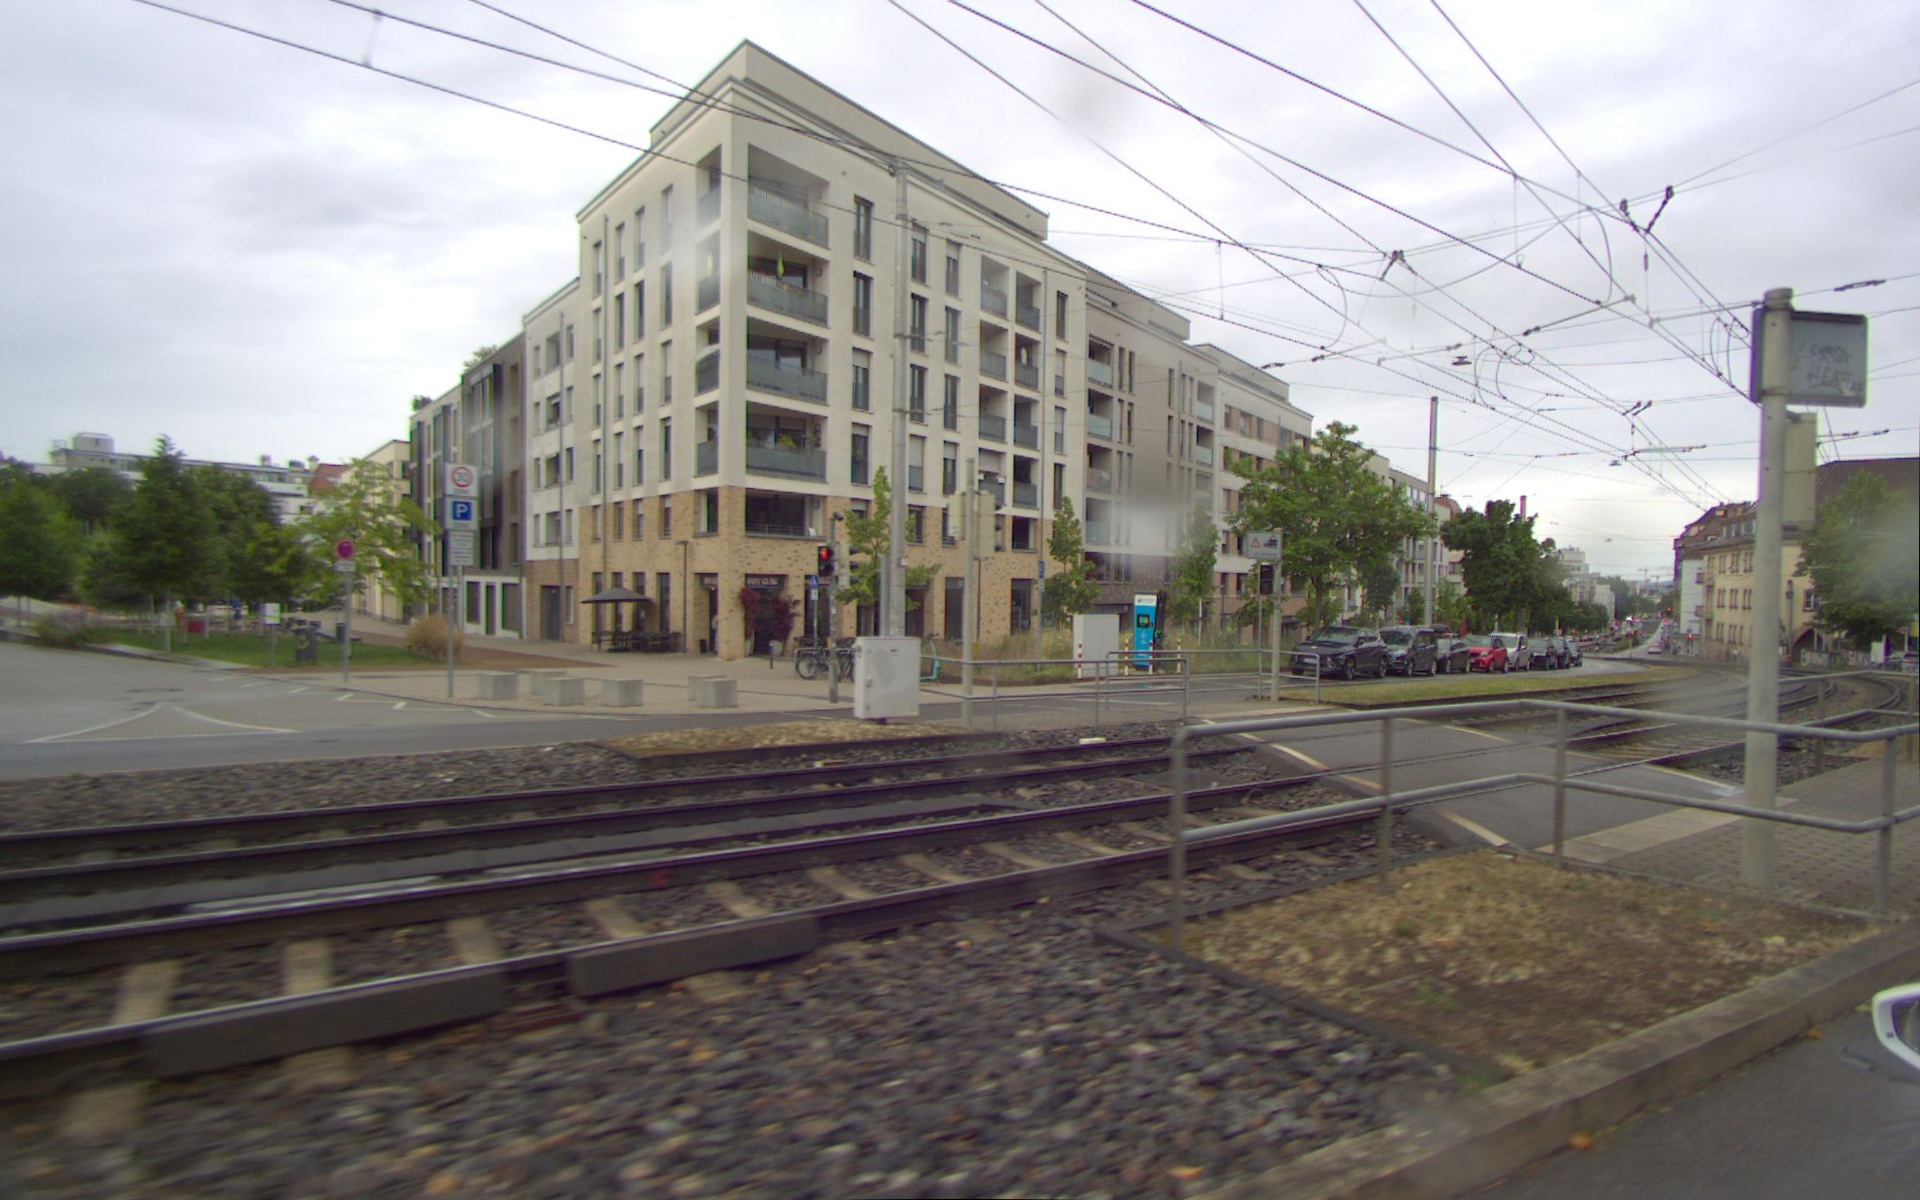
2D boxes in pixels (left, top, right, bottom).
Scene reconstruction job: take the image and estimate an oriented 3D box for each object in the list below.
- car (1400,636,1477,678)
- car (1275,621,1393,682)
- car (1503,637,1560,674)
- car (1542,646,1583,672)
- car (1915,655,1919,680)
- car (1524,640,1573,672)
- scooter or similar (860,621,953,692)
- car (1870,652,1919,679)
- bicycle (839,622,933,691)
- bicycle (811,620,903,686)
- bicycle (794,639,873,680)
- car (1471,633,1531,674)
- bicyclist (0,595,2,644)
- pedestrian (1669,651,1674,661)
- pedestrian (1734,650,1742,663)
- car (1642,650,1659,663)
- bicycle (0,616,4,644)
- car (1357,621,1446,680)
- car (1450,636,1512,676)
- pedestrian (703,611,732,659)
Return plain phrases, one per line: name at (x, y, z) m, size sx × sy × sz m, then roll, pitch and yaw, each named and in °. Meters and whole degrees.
car at (18.905, 2.232, 39.612) m, size 1.533 × 1.466 × 4.376 m, roll 3°, pitch -1°, yaw 42°
car at (11.839, 1.627, 31.659) m, size 1.971 × 1.626 × 4.192 m, roll 5°, pitch 1°, yaw 42°
car at (28.812, 2.786, 50.581) m, size 1.711 × 1.666 × 4.512 m, roll 2°, pitch -1°, yaw 39°
car at (38.387, 3.742, 63.942) m, size 1.939 × 1.450 × 4.187 m, roll 2°, pitch -1°, yaw 34°
car at (56.070, 3.872, 56.901) m, size 1.640 × 1.496 × 4.105 m, roll 0°, pitch -2°, yaw 26°
car at (32.279, 3.070, 55.046) m, size 1.780 × 1.604 × 4.682 m, roll 2°, pitch -1°, yaw 37°
scooter or similar at (-1.254, 1.341, 24.059) m, size 2.343 × 1.617 × 0.594 m, roll 3°, pitch -1°, yaw -42°
car at (58.345, 4.040, 62.448) m, size 1.640 × 1.544 × 4.103 m, roll 0°, pitch -2°, yaw 28°
bicycle at (-1.793, 1.382, 24.750) m, size 2.343 × 1.617 × 0.669 m, roll 3°, pitch -1°, yaw -42°
bicycle at (-2.610, 1.359, 25.686) m, size 2.343 × 1.617 × 0.669 m, roll 3°, pitch -1°, yaw -42°
bicycle at (-3.424, 1.625, 27.401) m, size 2.210 × 1.061 × 0.471 m, roll 2°, pitch -1°, yaw -38°
car at (25.104, 2.474, 46.520) m, size 1.643 × 1.770 × 4.238 m, roll 1°, pitch -2°, yaw 39°
bicyclist at (-36.240, 0.715, 37.162) m, size 0.773 × 1.828 × 0.901 m, roll 1°, pitch -1°, yaw 22°
pedestrian at (95.435, 7.551, 134.729) m, size 0.502 × 1.333 × 0.505 m, roll 1°, pitch -1°, yaw 28°
pedestrian at (80.990, 5.892, 104.544) m, size 0.496 × 1.333 × 0.510 m, roll 1°, pitch -1°, yaw 26°
car at (103.741, 8.467, 150.893) m, size 1.968 × 1.795 × 3.986 m, roll 1°, pitch -2°, yaw 36°
bicycle at (-36.459, 1.097, 37.241) m, size 1.973 × 1.042 × 0.735 m, roll 1°, pitch -1°, yaw 24°
car at (15.681, 1.796, 35.575) m, size 1.563 × 1.884 × 4.310 m, roll 3°, pitch 0°, yaw 42°
car at (22.147, 2.386, 42.683) m, size 2.912 × 1.551 × 1.455 m, roll 3°, pitch 0°, yaw -44°
pedestrian at (-8.751, 1.269, 36.278) m, size 0.890 × 1.673 × 0.838 m, roll 1°, pitch -2°, yaw -21°
